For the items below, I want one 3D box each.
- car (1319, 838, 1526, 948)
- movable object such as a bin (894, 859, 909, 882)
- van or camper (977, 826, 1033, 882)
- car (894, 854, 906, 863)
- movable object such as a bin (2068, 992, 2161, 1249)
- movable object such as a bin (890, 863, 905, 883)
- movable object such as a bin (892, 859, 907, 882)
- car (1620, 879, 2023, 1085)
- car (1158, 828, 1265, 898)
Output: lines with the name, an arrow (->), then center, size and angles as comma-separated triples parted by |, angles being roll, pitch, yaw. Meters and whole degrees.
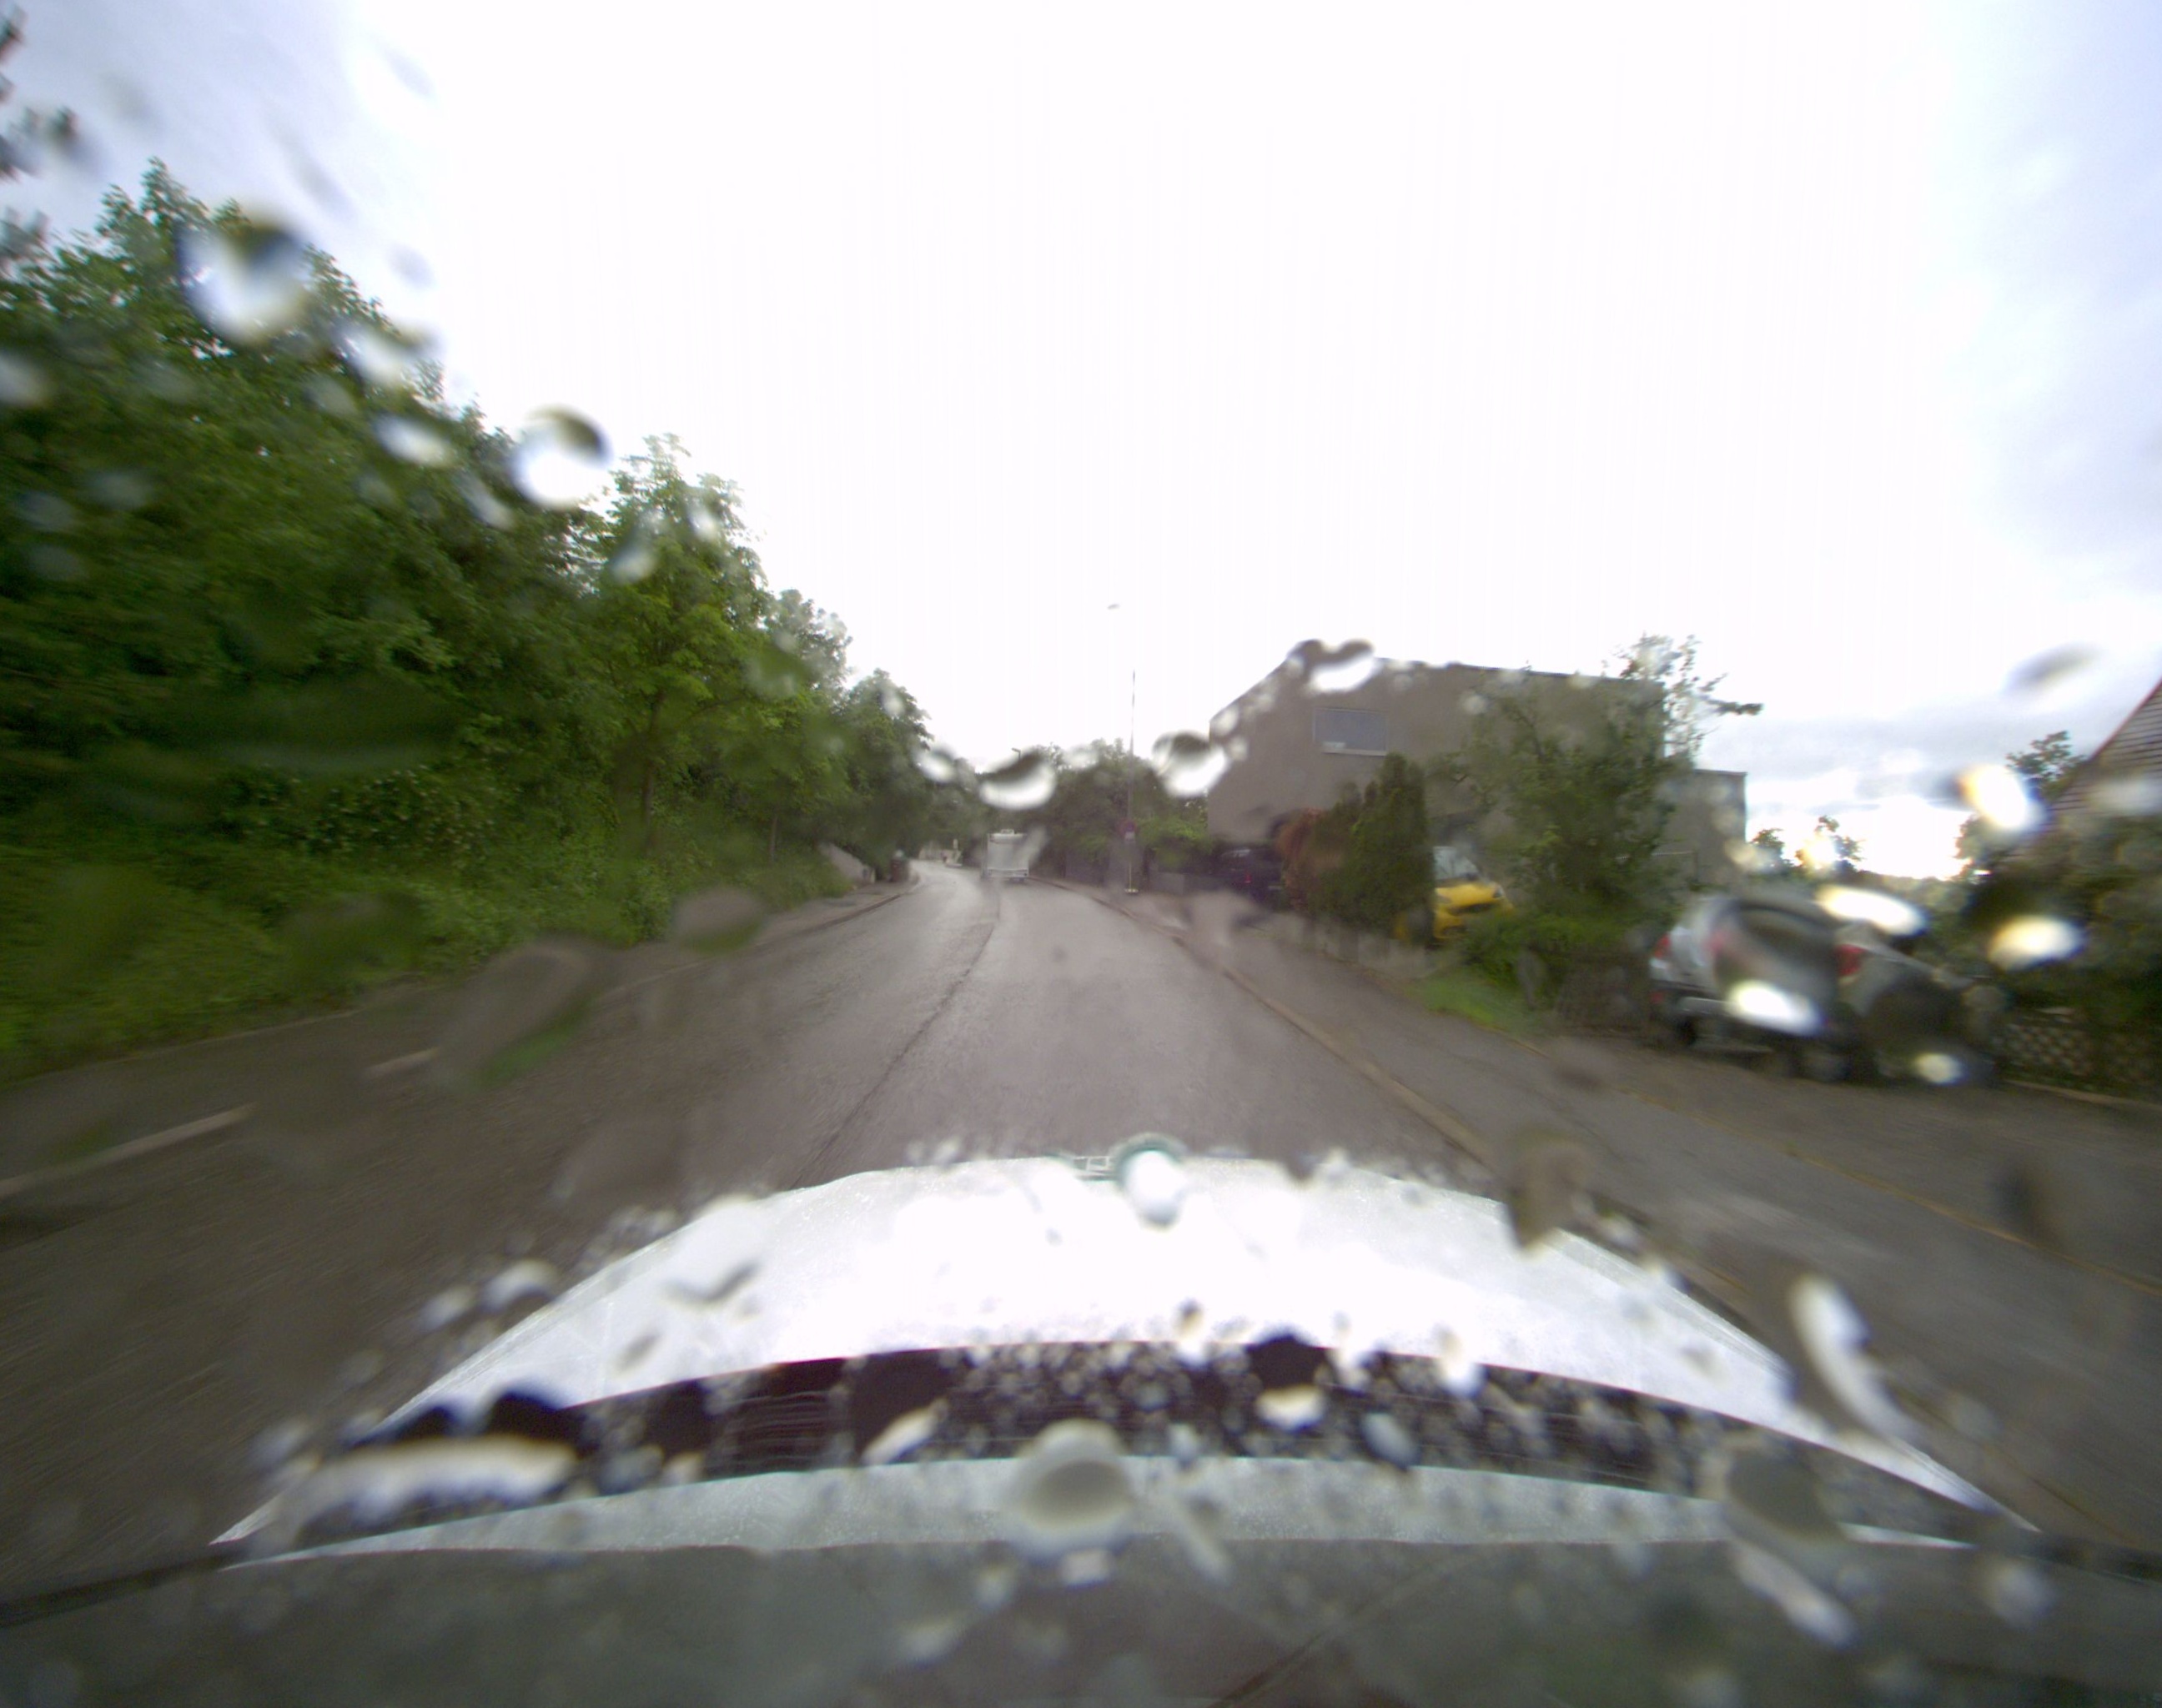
car -> 5.634, 0.609, 13.926 | 1.627, 1.493, 3.416 | -5, 0, -9
movable object such as a bin -> -8.827, 0.797, 40.032 | 0.648, 1.104, 0.671 | 1, -1, -9
van or camper -> -4.357, 0.055, 45.826 | 2.541, 2.925, 5.924 | 0, -1, -11
car -> -27.485, 0.714, 123.749 | 1.651, 1.385, 3.515 | 2, -1, -12
movable object such as a bin -> 4.576, 1.101, 3.259 | 0.503, 0.969, 0.594 | 4, -1, -2
movable object such as a bin -> -8.667, 0.886, 38.502 | 0.648, 0.911, 0.671 | 1, 0, -9
movable object such as a bin -> -8.755, 0.808, 39.265 | 0.648, 1.081, 0.671 | 1, -1, -9
car -> 7.504, 1.288, 8.264 | 3.780, 1.662, 1.761 | 7, -7, -26
car -> 3.860, 0.380, 25.069 | 1.992, 1.941, 4.760 | 0, -3, -7
